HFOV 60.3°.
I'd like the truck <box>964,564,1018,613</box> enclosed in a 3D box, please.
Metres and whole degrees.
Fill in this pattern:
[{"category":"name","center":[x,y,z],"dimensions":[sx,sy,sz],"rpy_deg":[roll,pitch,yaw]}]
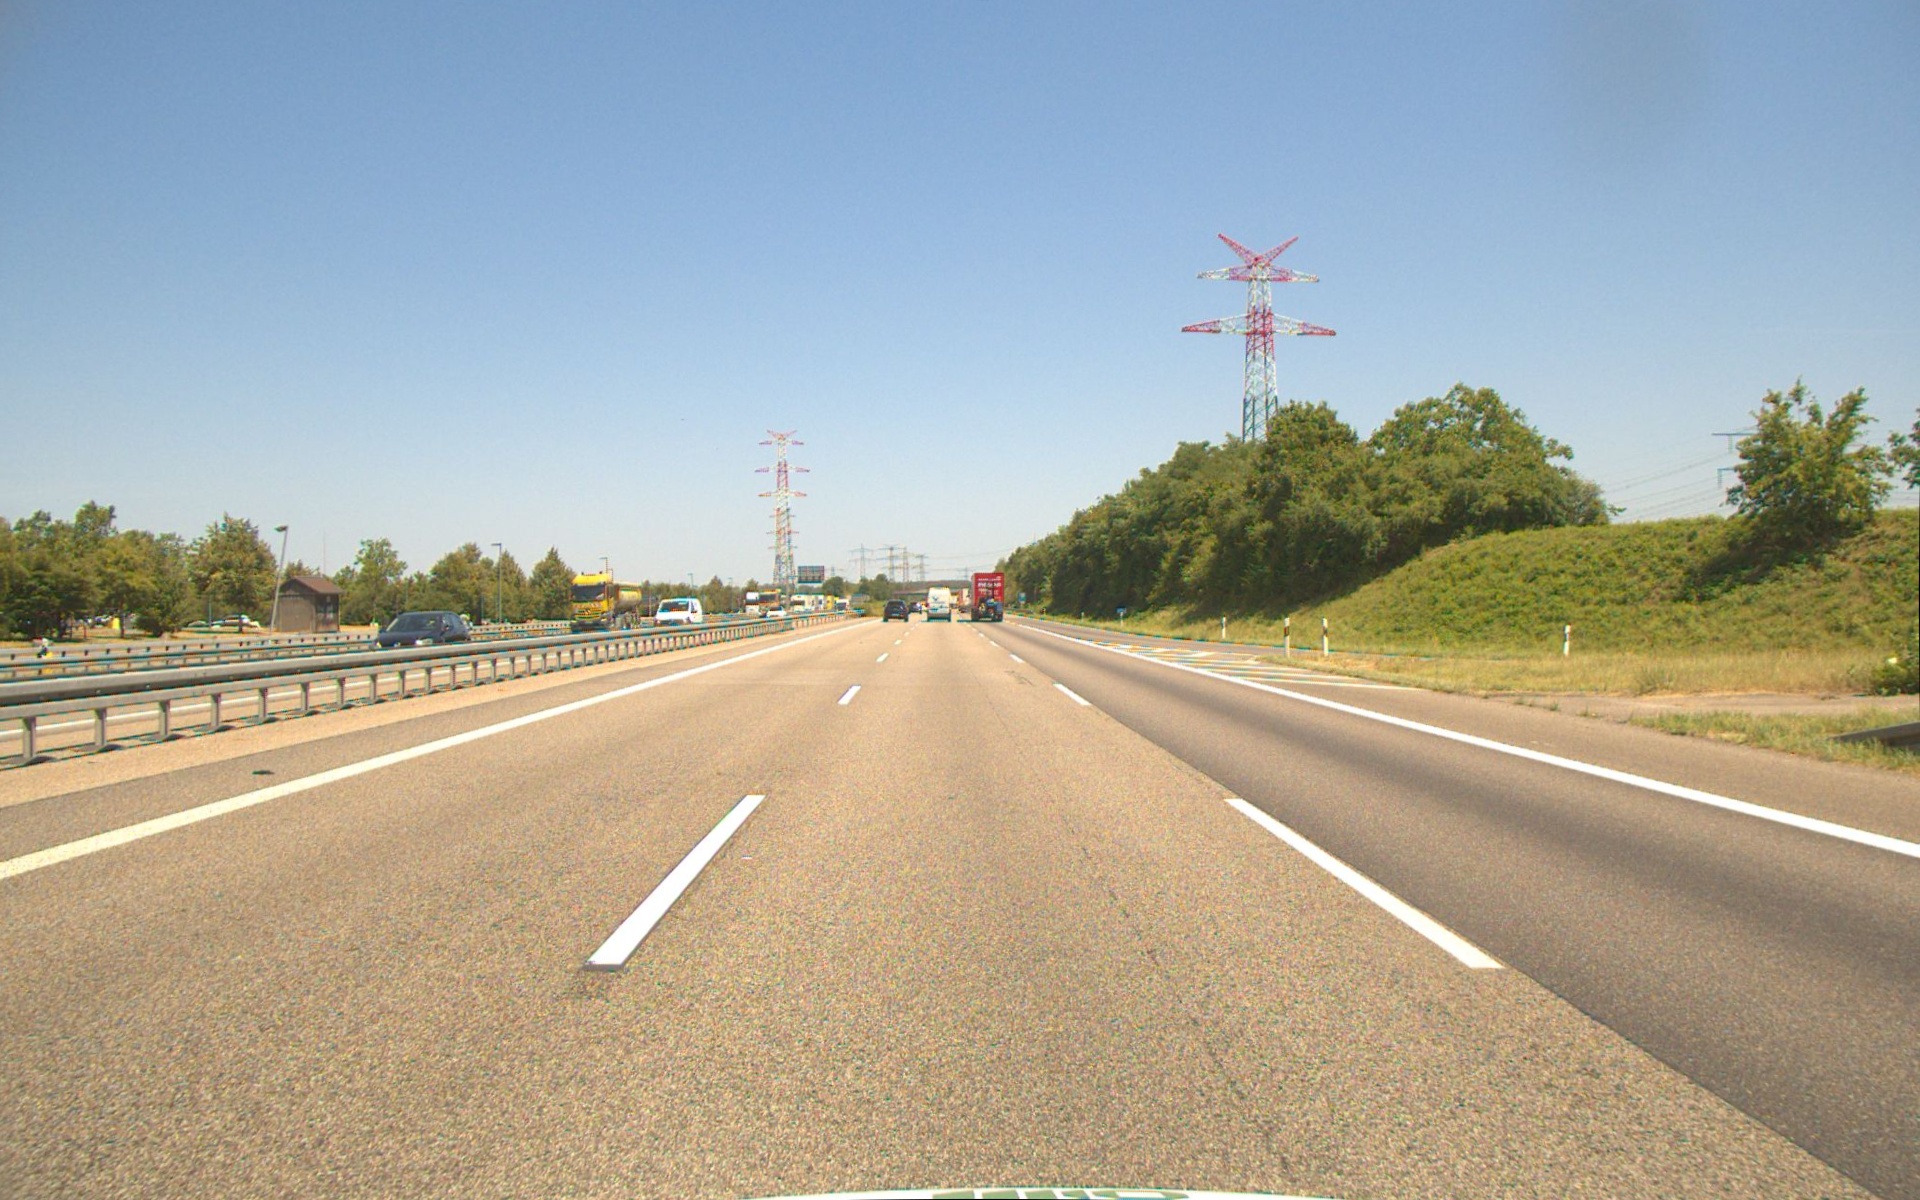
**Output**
[{"category":"truck","center":[2.601,-0.995,145.375],"dimensions":[4.243,4.010,16.075],"rpy_deg":[1,0,-1]}]

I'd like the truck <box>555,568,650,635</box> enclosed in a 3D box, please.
[{"category":"truck","center":[-22.139,0.082,103.344],"dimensions":[3.107,3.877,13.528],"rpy_deg":[-1,0,-1]}]

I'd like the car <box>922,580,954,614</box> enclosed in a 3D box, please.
[{"category":"car","center":[-1.887,-0.262,139.238],"dimensions":[2.568,2.807,6.095],"rpy_deg":[1,0,-1]}]

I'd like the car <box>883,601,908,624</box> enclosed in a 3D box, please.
[{"category":"car","center":[-5.125,1.016,132.306],"dimensions":[1.953,1.780,3.999],"rpy_deg":[1,0,-2]}]

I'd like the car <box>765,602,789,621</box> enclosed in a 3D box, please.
[{"category":"car","center":[-19.060,1.206,172.689],"dimensions":[2.011,1.875,5.471],"rpy_deg":[-1,0,-2]}]

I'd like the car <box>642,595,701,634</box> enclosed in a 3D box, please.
[{"category":"car","center":[-14.457,0.715,83.173],"dimensions":[2.011,1.875,5.941],"rpy_deg":[-1,0,-2]}]

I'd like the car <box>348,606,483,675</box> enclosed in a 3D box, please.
[{"category":"car","center":[-14.337,1.030,43.843],"dimensions":[2.011,1.578,4.889],"rpy_deg":[-3,0,-2]}]

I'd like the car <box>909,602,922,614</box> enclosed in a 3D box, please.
[{"category":"car","center":[-6.275,1.129,233.140],"dimensions":[1.712,1.662,4.002],"rpy_deg":[1,0,-1]}]

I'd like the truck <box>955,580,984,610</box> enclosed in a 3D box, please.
[{"category":"truck","center":[1.460,-0.855,267.031],"dimensions":[4.243,4.603,16.075],"rpy_deg":[1,0,-1]}]

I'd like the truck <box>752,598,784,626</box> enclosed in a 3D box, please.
[{"category":"truck","center":[-23.859,1.463,206.032],"dimensions":[2.662,3.316,12.386],"rpy_deg":[-1,0,-1]}]
